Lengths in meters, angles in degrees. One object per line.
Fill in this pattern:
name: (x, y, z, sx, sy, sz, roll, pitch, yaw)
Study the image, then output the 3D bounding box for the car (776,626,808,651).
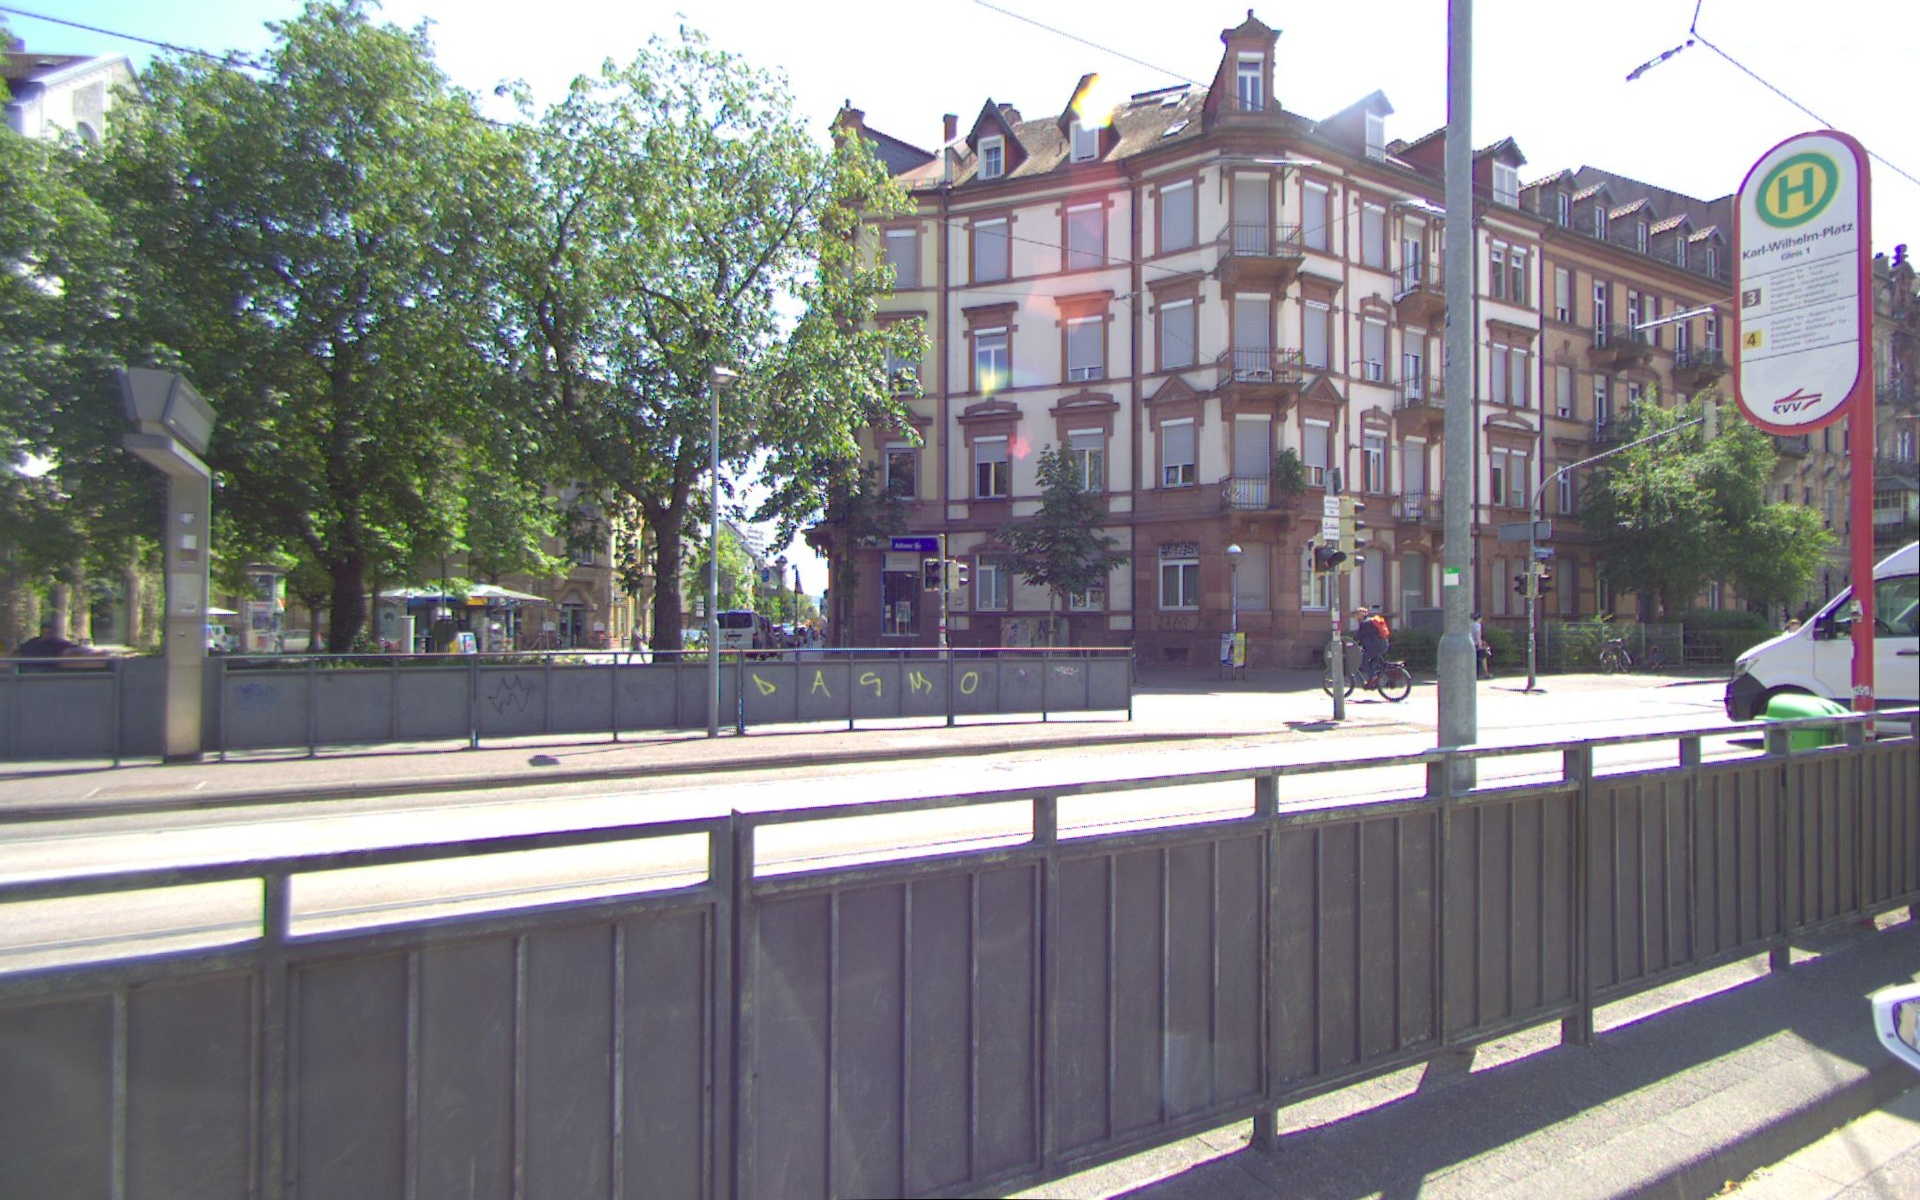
car: (-12.478, 2.843, 74.762, 1.962, 1.617, 3.998, 2, 0, -4)

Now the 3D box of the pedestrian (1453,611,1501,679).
pedestrian: (14.418, 1.252, 28.027, 0.856, 1.847, 0.818, 0, 1, -3)

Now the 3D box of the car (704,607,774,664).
car: (-8.325, 1.298, 38.221, 1.962, 1.970, 3.998, 2, 0, -4)

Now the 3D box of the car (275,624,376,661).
car: (-32.072, 2.162, 50.896, 3.920, 1.730, 1.761, 2, 0, -14)

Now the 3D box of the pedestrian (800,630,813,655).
pedestrian: (-10.100, 2.793, 66.087, 0.790, 1.632, 0.731, 0, -1, -4)

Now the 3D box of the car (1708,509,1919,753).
car: (11.934, 0.366, 10.926, 2.241, 2.708, 5.798, 2, -1, -22)

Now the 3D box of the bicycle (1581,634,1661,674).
bicycle: (20.231, 1.640, 30.719, 2.742, 1.151, 0.932, 2, 0, -31)

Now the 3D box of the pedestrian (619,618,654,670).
pedestrian: (-10.848, 1.479, 33.719, 1.043, 1.712, 0.721, 0, -1, -12)

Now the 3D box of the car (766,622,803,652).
car: (-10.369, 2.176, 59.458, 1.684, 1.617, 3.998, 2, 0, -4)

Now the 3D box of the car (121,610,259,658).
car: (-31.186, 1.370, 40.821, 3.932, 1.814, 1.994, 2, 0, -14)

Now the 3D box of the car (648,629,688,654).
car: (-20.654, 2.917, 71.169, 1.846, 1.617, 3.998, 2, 0, -4)

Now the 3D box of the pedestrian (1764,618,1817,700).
pedestrian: (17.441, 1.227, 21.099, 0.551, 1.667, 0.673, 2, 0, -25)

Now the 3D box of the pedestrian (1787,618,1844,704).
pedestrian: (17.008, 1.199, 19.968, 0.551, 1.667, 0.673, 2, 0, -25)

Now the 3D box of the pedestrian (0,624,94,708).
pedestrian: (-14.658, 1.044, 16.110, 0.925, 1.261, 0.860, 2, 0, -24)

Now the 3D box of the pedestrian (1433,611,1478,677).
pedestrian: (14.186, 1.249, 28.782, 0.856, 1.847, 0.818, 0, 1, -3)

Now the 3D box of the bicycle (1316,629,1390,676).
bicycle: (11.668, 1.554, 29.866, 1.923, 1.312, 0.564, 2, 0, 11)

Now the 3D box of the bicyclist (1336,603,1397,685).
bicyclist: (8.071, 0.862, 19.953, 0.718, 1.582, 0.886, 2, -1, -45)

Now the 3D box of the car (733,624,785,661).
car: (-9.622, 2.010, 48.293, 1.893, 1.541, 3.998, 2, 0, -4)

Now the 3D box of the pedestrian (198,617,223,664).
pedestrian: (-27.114, 1.460, 36.337, 0.506, 1.692, 0.491, 0, -1, -8)

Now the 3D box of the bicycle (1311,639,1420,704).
bicycle: (8.070, 1.396, 20.051, 0.644, 1.188, 1.901, 2, -1, -44)
